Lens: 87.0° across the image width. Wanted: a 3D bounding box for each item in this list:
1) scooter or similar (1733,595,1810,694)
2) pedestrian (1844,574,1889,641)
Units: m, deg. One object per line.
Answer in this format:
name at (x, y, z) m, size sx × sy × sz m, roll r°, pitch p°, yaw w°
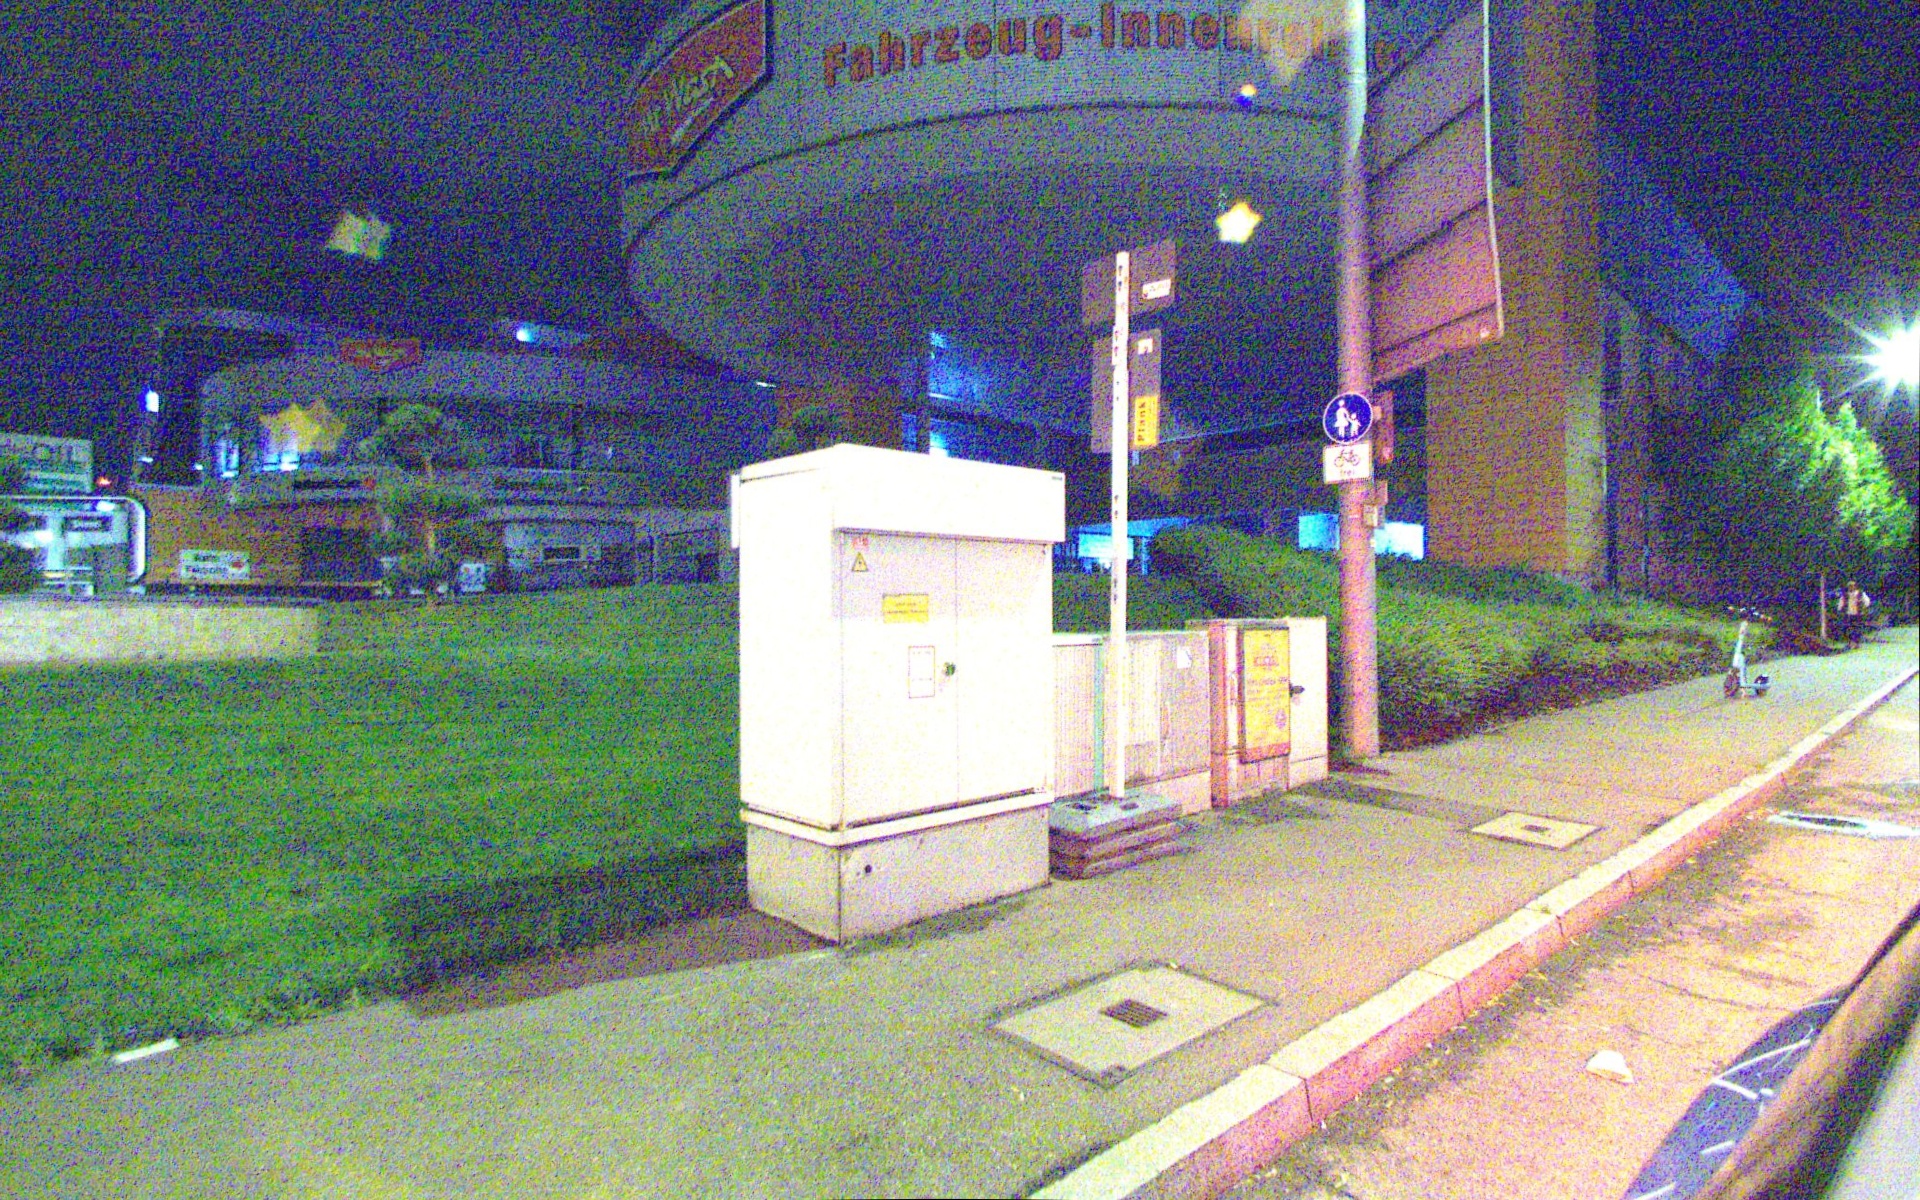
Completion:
scooter or similar at (11.291, 0.588, 14.068) m, size 1.367 × 1.295 × 0.569 m, roll 0°, pitch 1°, yaw -41°
pedestrian at (25.239, 0.205, 28.183) m, size 0.597 × 1.842 × 0.824 m, roll -1°, pitch 0°, yaw -40°
